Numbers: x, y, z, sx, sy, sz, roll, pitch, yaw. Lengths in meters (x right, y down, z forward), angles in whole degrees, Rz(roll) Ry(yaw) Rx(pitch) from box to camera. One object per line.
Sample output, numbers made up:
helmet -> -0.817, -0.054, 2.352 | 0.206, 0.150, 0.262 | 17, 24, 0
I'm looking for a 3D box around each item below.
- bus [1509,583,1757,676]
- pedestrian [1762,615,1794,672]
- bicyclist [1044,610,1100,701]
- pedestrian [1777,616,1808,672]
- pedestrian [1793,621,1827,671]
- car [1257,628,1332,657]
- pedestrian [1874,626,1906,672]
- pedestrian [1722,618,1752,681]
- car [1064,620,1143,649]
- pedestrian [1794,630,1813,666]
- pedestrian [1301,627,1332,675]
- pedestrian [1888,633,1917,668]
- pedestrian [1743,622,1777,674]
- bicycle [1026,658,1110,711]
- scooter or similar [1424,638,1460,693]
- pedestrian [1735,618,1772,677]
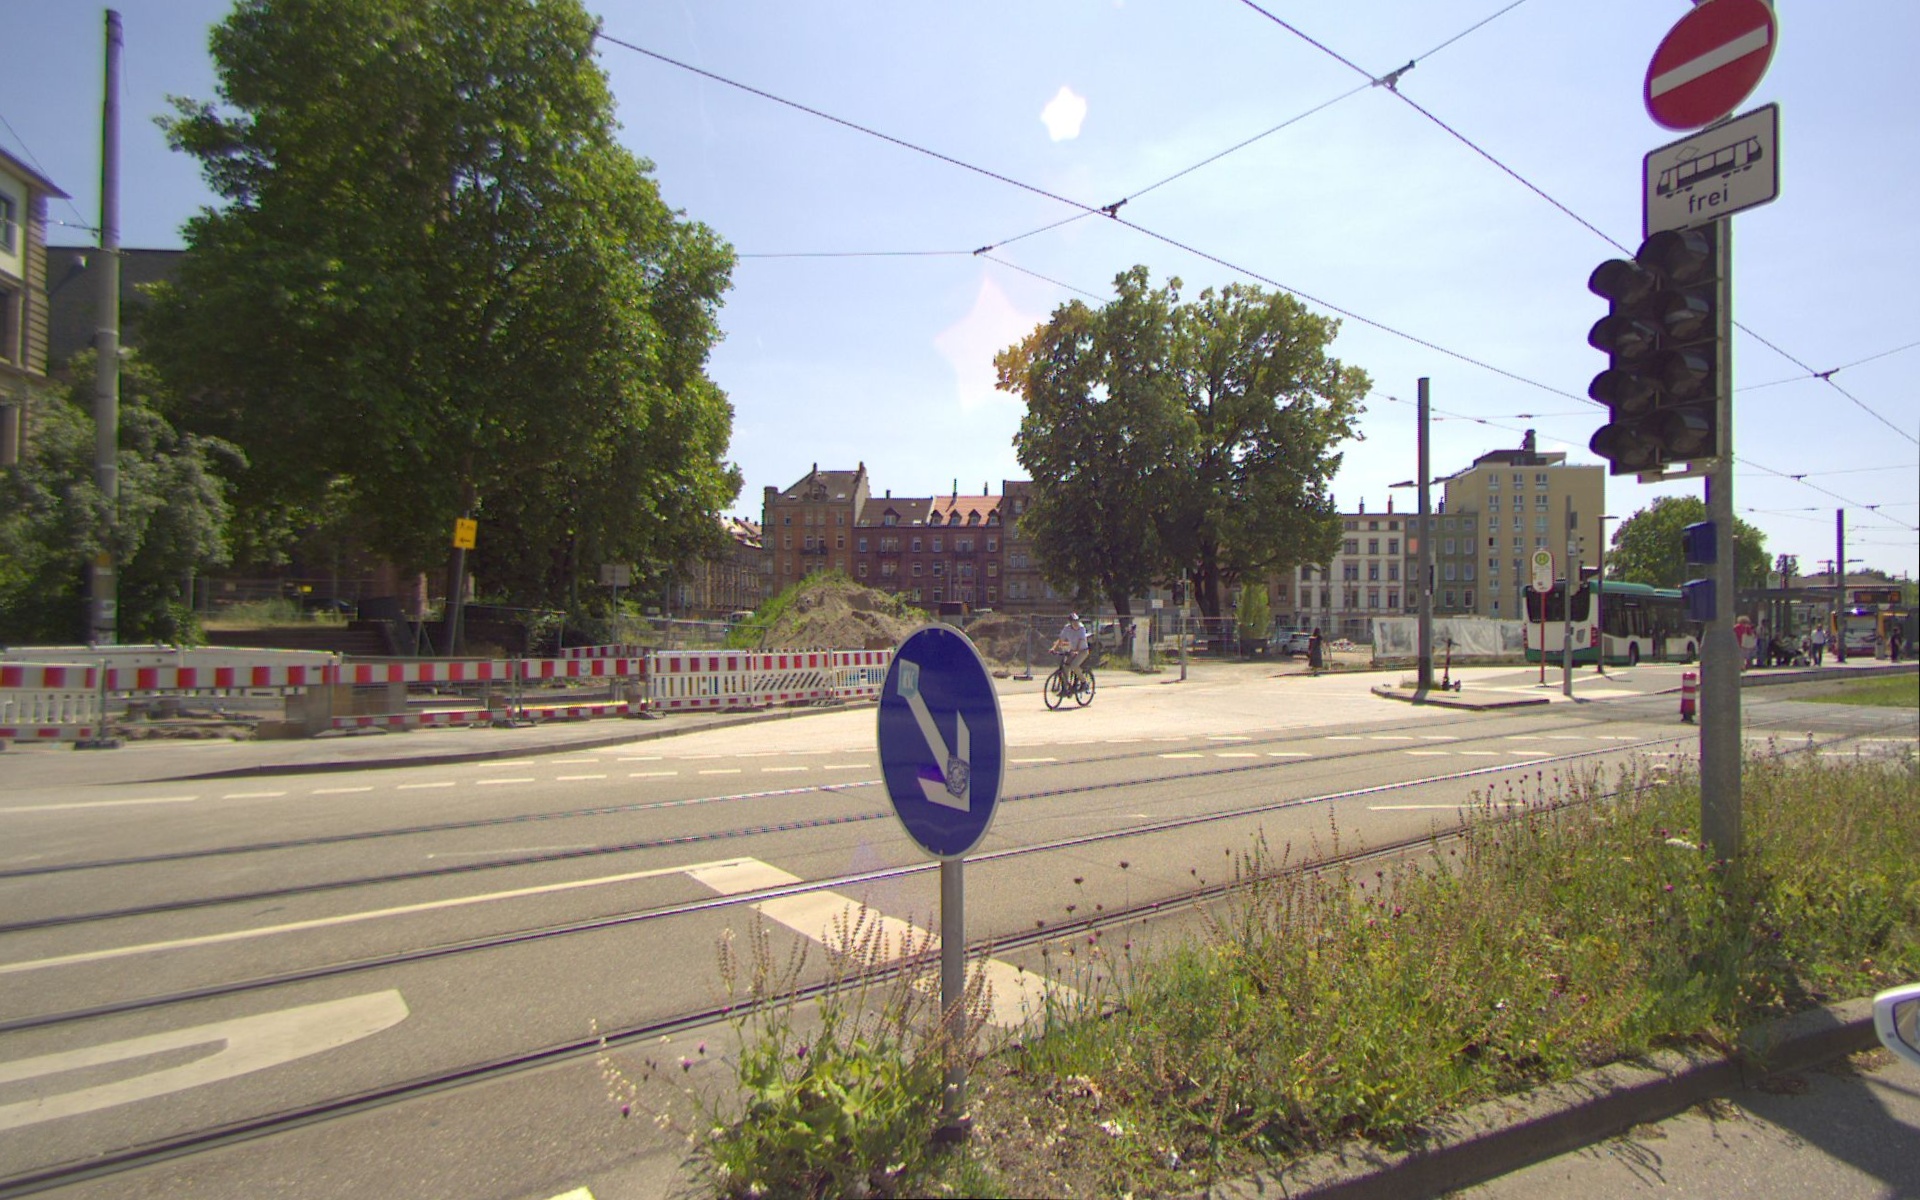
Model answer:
bus -> 28.065, 1.239, 41.155 | 17.336, 3.199, 2.989 | 2, -2, -37
pedestrian -> 31.373, 1.661, 38.513 | 0.889, 2.124, 0.827 | -1, -2, 42
bicyclist -> 2.211, 1.078, 19.829 | 0.810, 1.732, 0.767 | -1, -2, 37
pedestrian -> 31.957, 1.671, 38.553 | 0.889, 2.124, 0.827 | -1, -2, 42
pedestrian -> 36.368, 1.958, 42.991 | 0.822, 2.124, 0.894 | 1, -2, -32
car -> 19.509, 2.456, 58.680 | 1.826, 1.671, 4.171 | 1, -2, -25
pedestrian -> 43.513, 2.273, 47.008 | 0.822, 2.124, 0.894 | 1, -2, -32
pedestrian -> 24.278, 1.539, 31.373 | 0.665, 1.934, 0.637 | -1, -2, 43
car -> 9.750, 2.338, 68.497 | 4.957, 1.909, 2.110 | 1, -2, -18
pedestrian -> 50.308, 2.840, 59.901 | 0.694, 2.139, 0.656 | -1, -2, 29
pedestrian -> 12.387, 1.763, 34.903 | 0.815, 1.623, 0.603 | 1, -2, -27
pedestrian -> 51.447, 2.756, 54.809 | 0.956, 1.859, 0.776 | -1, -2, 29
pedestrian -> 29.008, 1.739, 36.439 | 0.902, 1.876, 0.654 | -1, -2, 43
bicycle -> 2.156, 1.640, 19.744 | 0.497, 0.926, 2.362 | -1, -2, 37
scooter or similar -> 11.135, 1.497, 23.181 | 1.239, 1.222, 0.315 | 2, -2, -43
pedestrian -> 28.066, 1.671, 35.522 | 0.931, 2.016, 1.023 | -1, -2, 43
